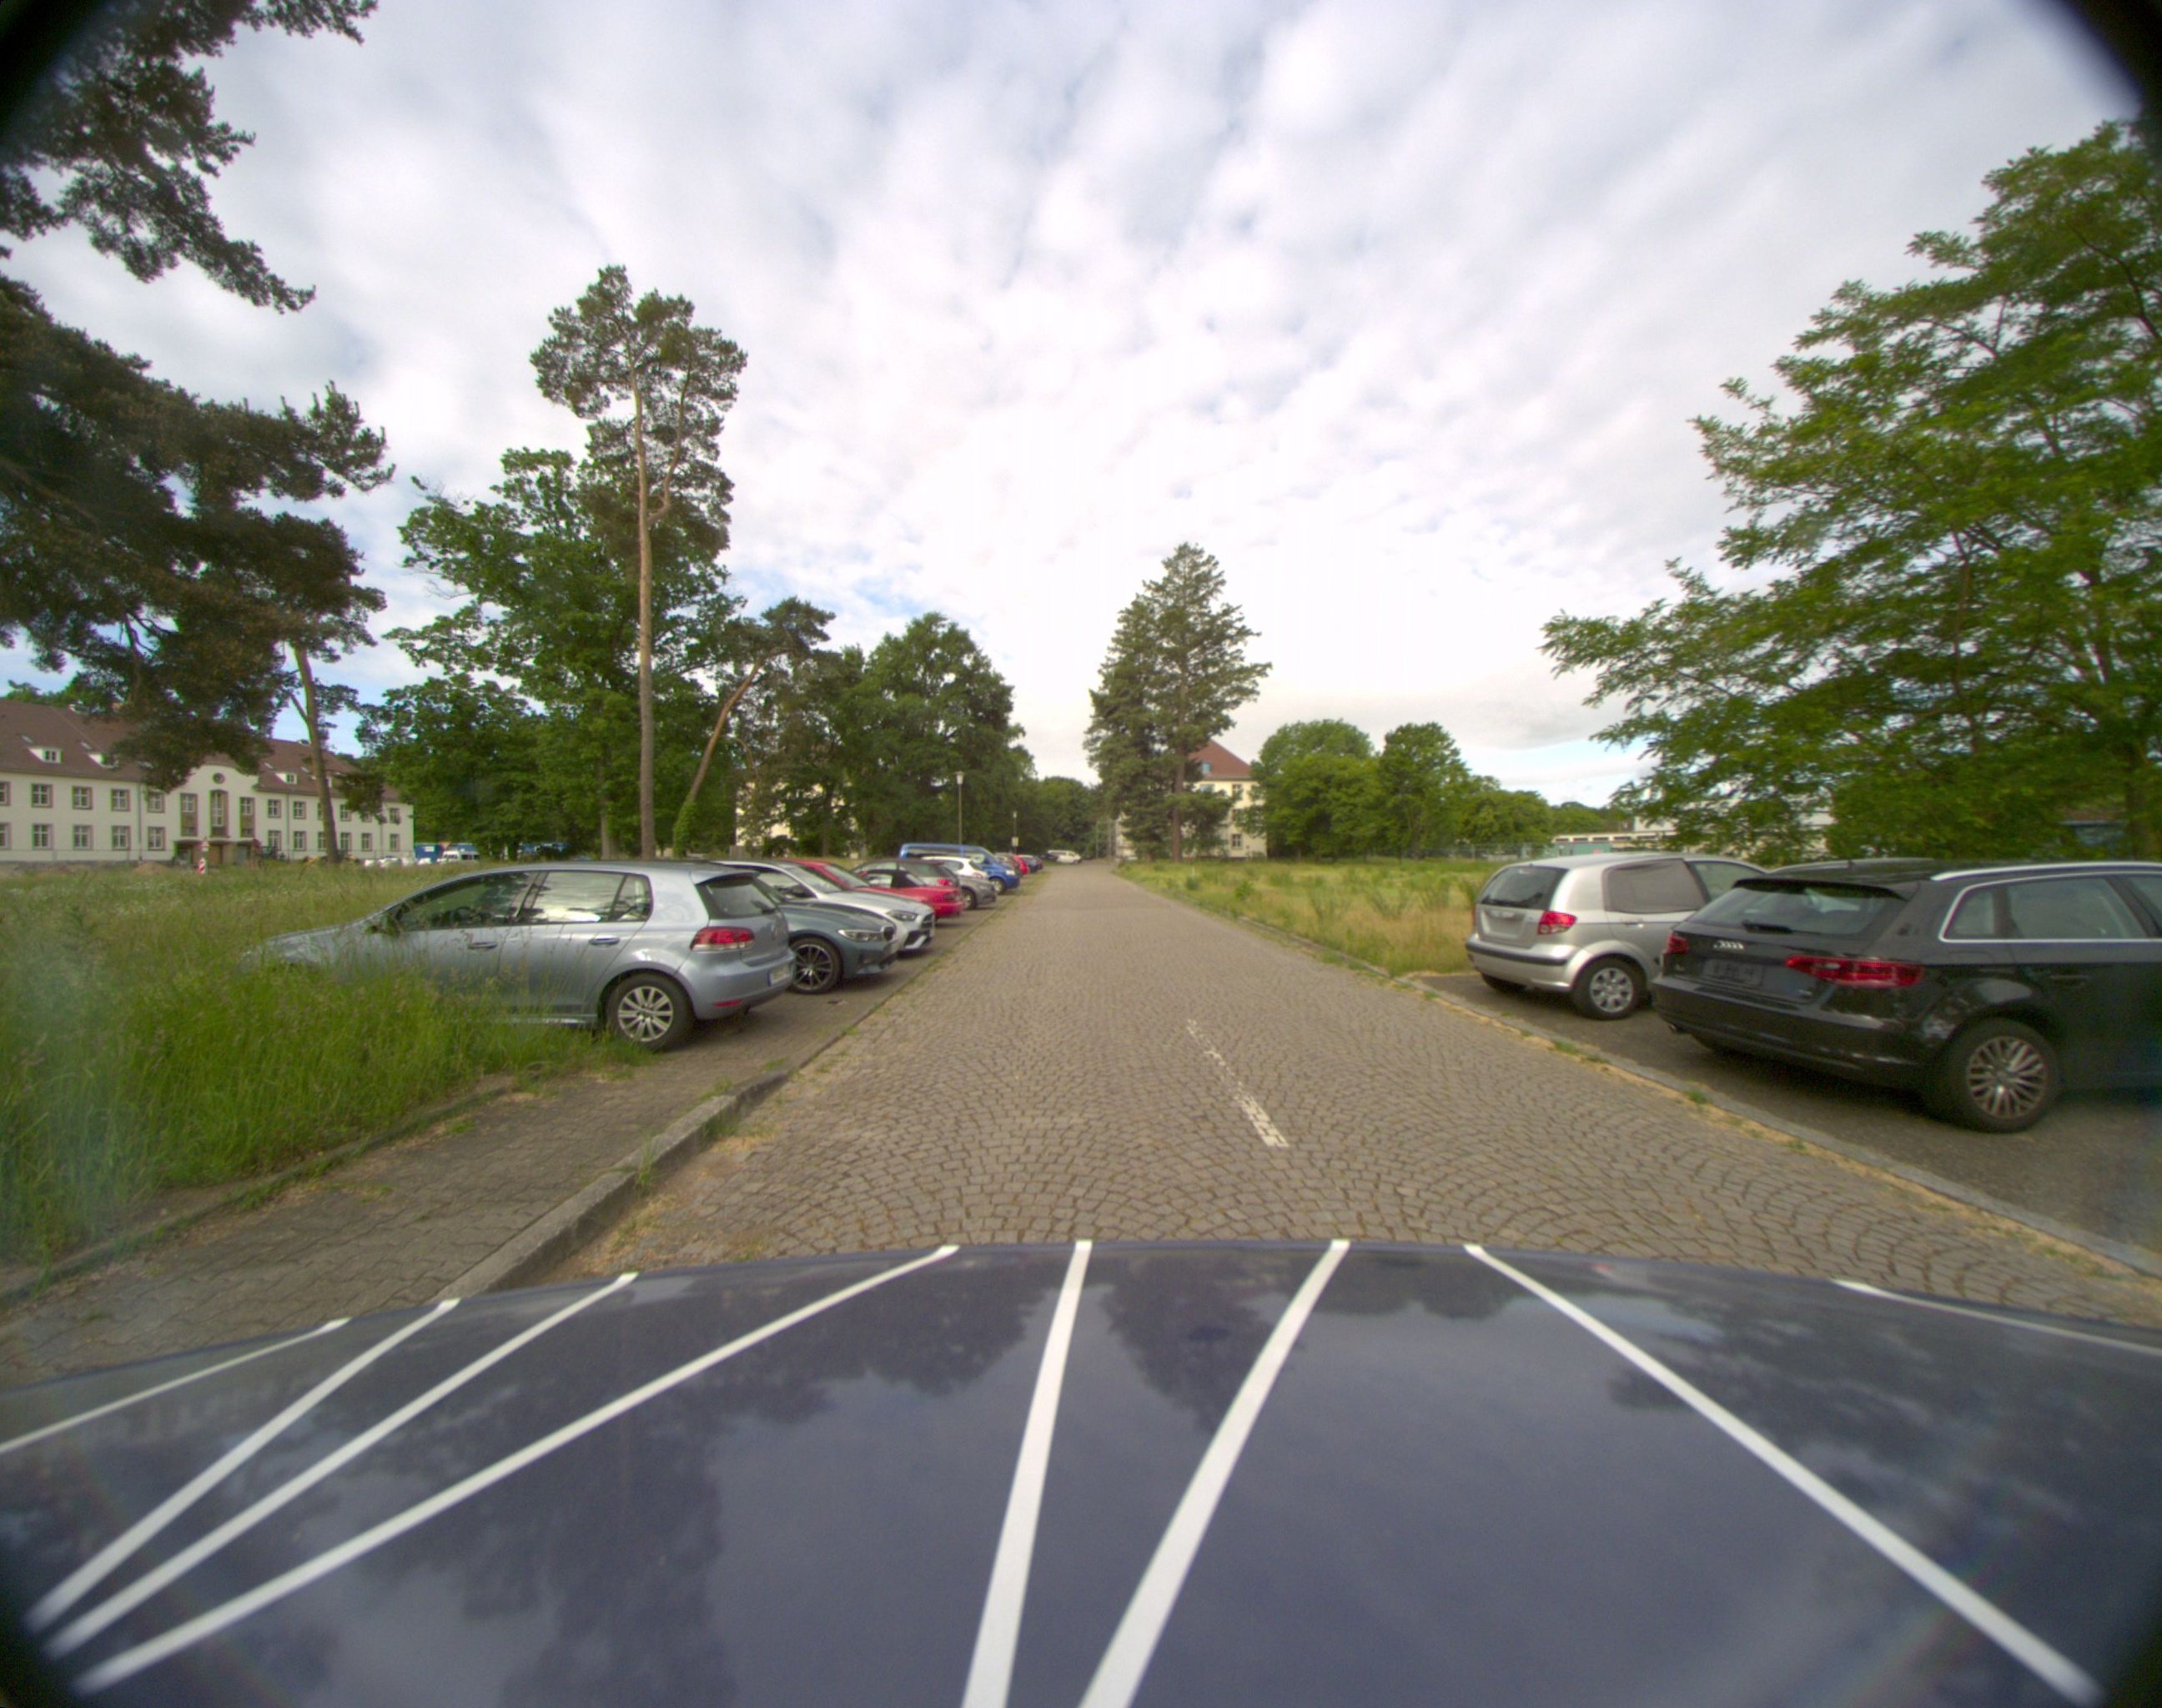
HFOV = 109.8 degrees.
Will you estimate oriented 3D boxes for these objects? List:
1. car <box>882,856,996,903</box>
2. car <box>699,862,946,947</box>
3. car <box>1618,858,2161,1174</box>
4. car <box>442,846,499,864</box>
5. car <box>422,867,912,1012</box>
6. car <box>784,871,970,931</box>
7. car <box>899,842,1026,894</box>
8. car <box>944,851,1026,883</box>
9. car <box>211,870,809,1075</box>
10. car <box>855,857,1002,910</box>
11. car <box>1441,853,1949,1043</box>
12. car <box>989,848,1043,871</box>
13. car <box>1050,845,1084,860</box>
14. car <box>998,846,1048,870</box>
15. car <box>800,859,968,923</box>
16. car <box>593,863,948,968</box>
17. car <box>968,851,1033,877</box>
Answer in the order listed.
[{"bbox_3d":[-4.584,0.807,24.825,3.409,1.444,1.637,0,1,0],"label":"car"},{"bbox_3d":[-4.658,0.881,14.138,3.972,1.444,1.800,0,1,-1],"label":"car"},{"bbox_3d":[6.020,0.836,4.817,3.997,1.419,1.750,-3,1,-2],"label":"car"},{"bbox_3d":[-69.033,0.059,86.040,2.153,2.002,5.224,0,1,2],"label":"car"},{"bbox_3d":[-4.569,0.912,9.003,4.770,1.474,1.761,0,1,-4],"label":"car"},{"bbox_3d":[-4.325,0.990,16.434,3.600,1.200,1.494,0,0,0],"label":"car"},{"bbox_3d":[-4.621,0.527,30.245,4.749,1.928,2.000,1,1,-1],"label":"car"},{"bbox_3d":[-4.895,0.643,39.184,3.997,1.601,2.000,0,1,0],"label":"car"},{"bbox_3d":[-4.470,0.896,6.388,3.773,1.418,1.605,1,0,-1],"label":"car"},{"bbox_3d":[-4.329,0.830,22.004,3.848,1.448,1.820,0,1,2],"label":"car"},{"bbox_3d":[5.871,0.804,7.565,3.689,1.444,1.807,-3,1,-5],"label":"car"},{"bbox_3d":[-5.070,0.424,59.760,4.007,1.752,2.000,0,1,1],"label":"car"},{"bbox_3d":[-2.029,-0.221,113.054,5.031,2.164,2.000,0,1,1],"label":"car"},{"bbox_3d":[-4.865,0.292,64.158,3.997,2.002,2.000,0,1,1],"label":"car"},{"bbox_3d":[-4.833,0.879,19.111,3.787,1.497,1.798,0,1,-3],"label":"car"},{"bbox_3d":[-4.625,0.901,11.856,4.769,1.474,1.812,0,1,-1],"label":"car"},{"bbox_3d":[-5.213,0.639,49.512,3.997,1.521,2.000,-2,1,0],"label":"car"}]
